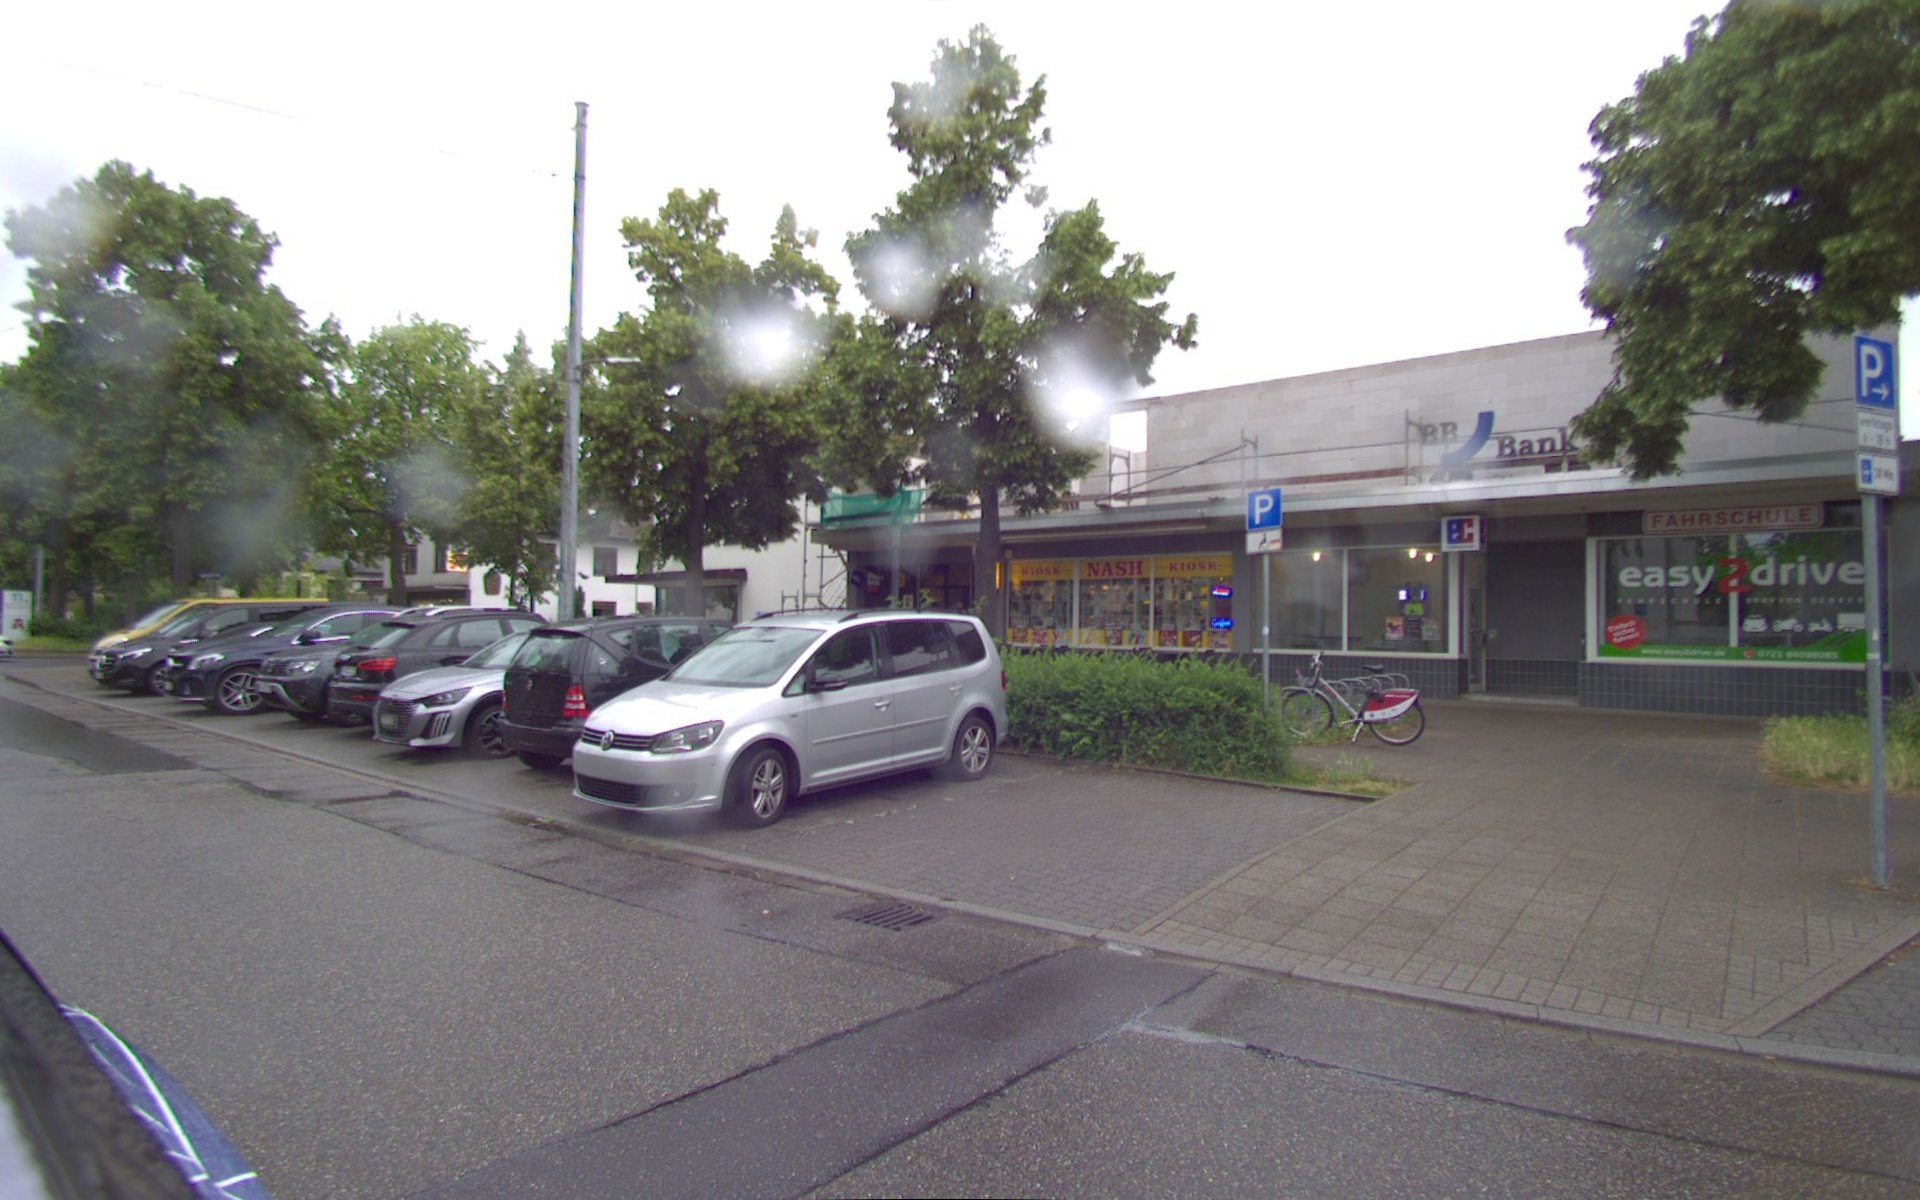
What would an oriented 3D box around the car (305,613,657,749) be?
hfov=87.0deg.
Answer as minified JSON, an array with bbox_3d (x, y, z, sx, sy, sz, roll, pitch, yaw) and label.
[{"bbox_3d":[-6.604,1.003,14.377,1.713,1.607,4.231,0,-1,38],"label":"car"}]

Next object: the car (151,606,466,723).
[{"bbox_3d":[-10.978,0.980,17.327,1.713,1.740,4.231,0,-1,38],"label":"car"}]

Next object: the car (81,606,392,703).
[{"bbox_3d":[-15.149,1.043,21.518,1.713,1.813,5.114,0,-1,38],"label":"car"}]

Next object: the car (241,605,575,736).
[{"bbox_3d":[-8.351,0.955,15.663,1.713,1.740,4.231,0,-1,38],"label":"car"}]

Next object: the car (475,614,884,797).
[{"bbox_3d":[-2.866,0.969,11.176,1.633,1.577,4.231,0,0,38],"label":"car"}]

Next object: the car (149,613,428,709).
[{"bbox_3d":[-12.971,1.096,19.781,1.713,1.639,4.231,0,-1,38],"label":"car"}]

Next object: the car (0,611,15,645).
[{"bbox_3d":[-49.772,1.421,50.200,1.997,1.698,3.950,0,0,37],"label":"car"}]

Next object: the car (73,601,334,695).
[{"bbox_3d":[-17.463,1.024,23.585,1.713,1.973,4.600,0,-1,38],"label":"car"}]

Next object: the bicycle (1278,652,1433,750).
[{"bbox_3d":[4.817,1.209,12.385,1.739,1.115,0.316,0,0,25],"label":"bicycle"}]

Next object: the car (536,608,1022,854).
[{"bbox_3d":[-1.336,0.900,9.018,1.713,1.647,4.231,0,-1,38],"label":"car"}]

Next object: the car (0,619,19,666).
[{"bbox_3d":[-32.948,1.388,32.123,4.185,1.465,2.006,-1,0,-33],"label":"car"}]

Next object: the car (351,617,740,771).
[{"bbox_3d":[-4.958,1.001,12.639,1.713,1.544,4.231,0,-1,38],"label":"car"}]
